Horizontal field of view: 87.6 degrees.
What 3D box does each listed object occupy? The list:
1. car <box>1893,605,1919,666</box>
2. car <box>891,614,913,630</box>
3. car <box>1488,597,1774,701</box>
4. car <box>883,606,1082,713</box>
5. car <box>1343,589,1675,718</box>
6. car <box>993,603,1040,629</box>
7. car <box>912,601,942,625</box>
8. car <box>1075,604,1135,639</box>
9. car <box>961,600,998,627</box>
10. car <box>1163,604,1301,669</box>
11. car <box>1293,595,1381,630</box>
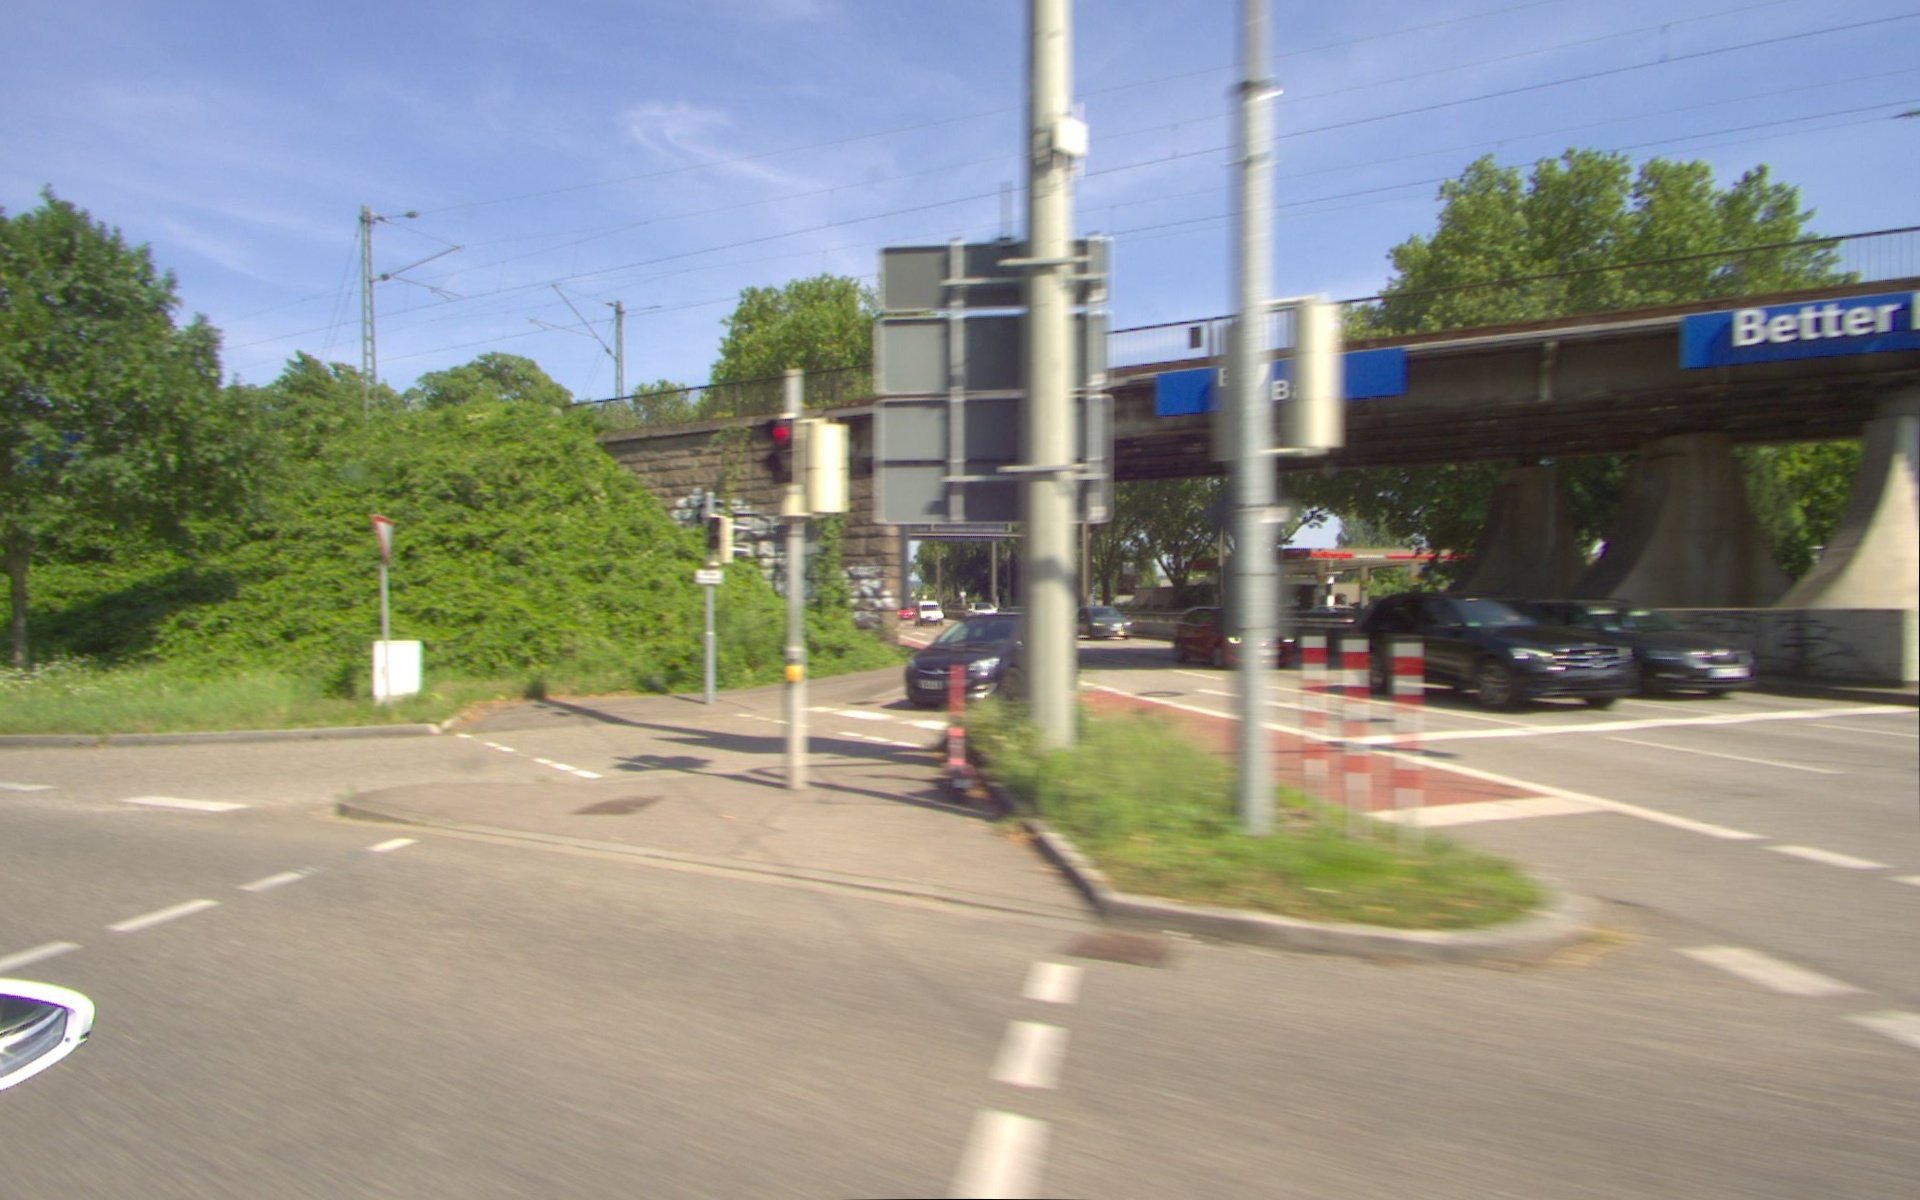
[{"bbox_3d":[24.286,0.868,23.033,1.684,1.470,3.891,1,-1,-9],"label":"car"},{"bbox_3d":[-5.528,2.075,95.485,1.662,1.442,3.997,2,0,-8],"label":"car"},{"bbox_3d":[10.546,0.704,16.144,1.660,1.461,3.999,0,0,-6],"label":"car"},{"bbox_3d":[0.530,0.889,16.996,1.799,1.526,4.200,0,0,26],"label":"car"},{"bbox_3d":[7.941,0.698,15.080,1.963,1.617,4.441,-1,0,-12],"label":"car"},{"bbox_3d":[3.294,0.951,59.378,1.851,1.461,4.139,0,-1,-10],"label":"car"},{"bbox_3d":[-2.498,0.977,75.521,1.769,1.739,3.998,0,-1,-9],"label":"car"},{"bbox_3d":[6.214,0.912,43.389,1.660,1.461,3.999,0,0,-6],"label":"car"},{"bbox_3d":[1.343,0.951,71.380,1.962,1.855,4.318,0,-1,-9],"label":"car"},{"bbox_3d":[6.477,0.840,24.310,1.676,1.439,3.997,0,0,-10],"label":"car"},{"bbox_3d":[17.863,0.565,47.703,1.962,1.528,4.480,2,0,-8],"label":"car"}]
